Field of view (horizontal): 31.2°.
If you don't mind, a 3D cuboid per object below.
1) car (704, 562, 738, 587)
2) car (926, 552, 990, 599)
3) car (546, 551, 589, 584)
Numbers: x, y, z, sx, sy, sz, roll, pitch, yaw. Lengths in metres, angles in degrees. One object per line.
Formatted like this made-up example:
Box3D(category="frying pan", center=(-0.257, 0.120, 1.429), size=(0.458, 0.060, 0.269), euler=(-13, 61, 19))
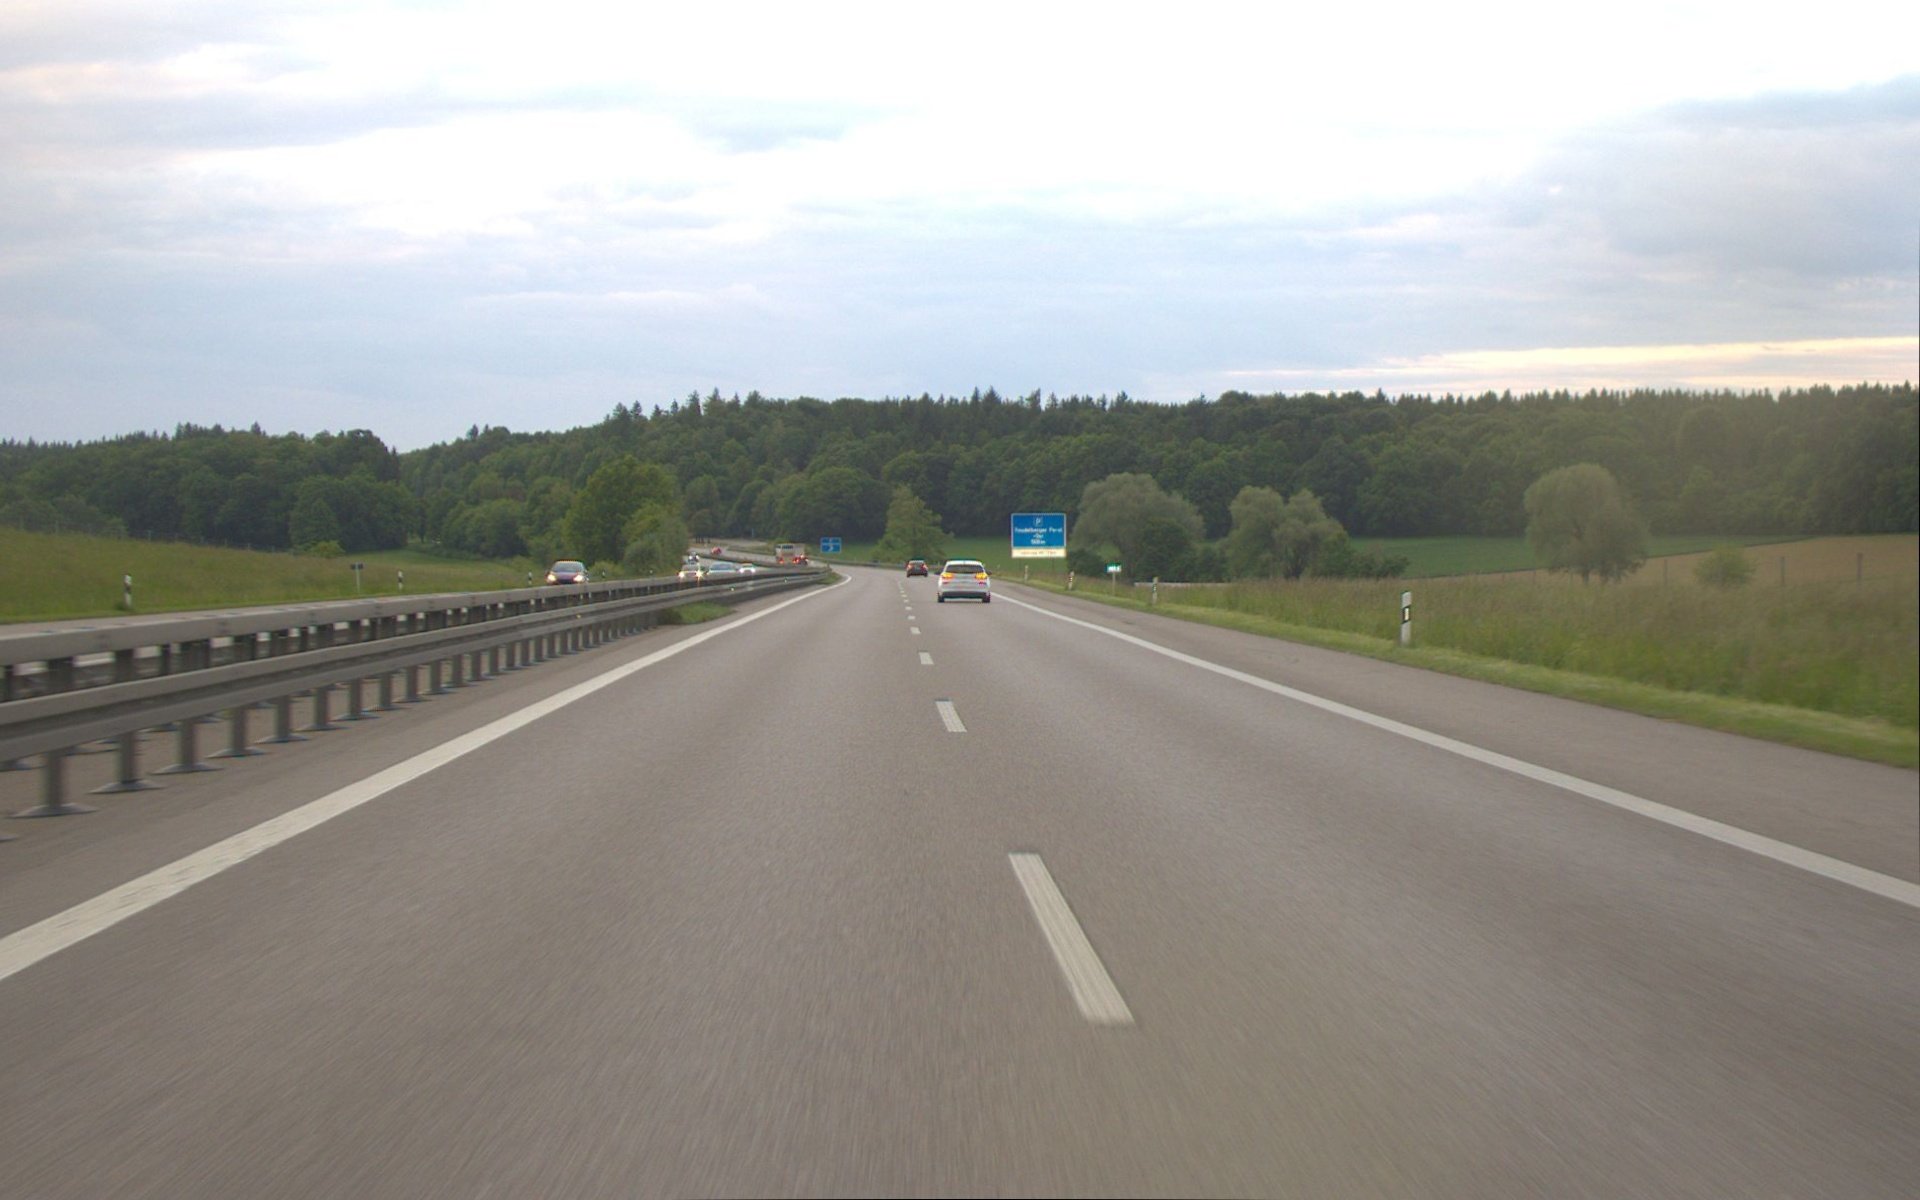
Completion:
Box3D(category="car", center=(-15.092, -1.607, 217.154), size=(1.738, 1.451, 5.121), euler=(1, 1, 0))
Box3D(category="car", center=(-0.094, -0.875, 119.051), size=(1.951, 1.526, 4.081), euler=(1, 1, -3))
Box3D(category="car", center=(-17.897, -1.493, 157.019), size=(1.528, 1.428, 4.435), euler=(1, 1, -1))
